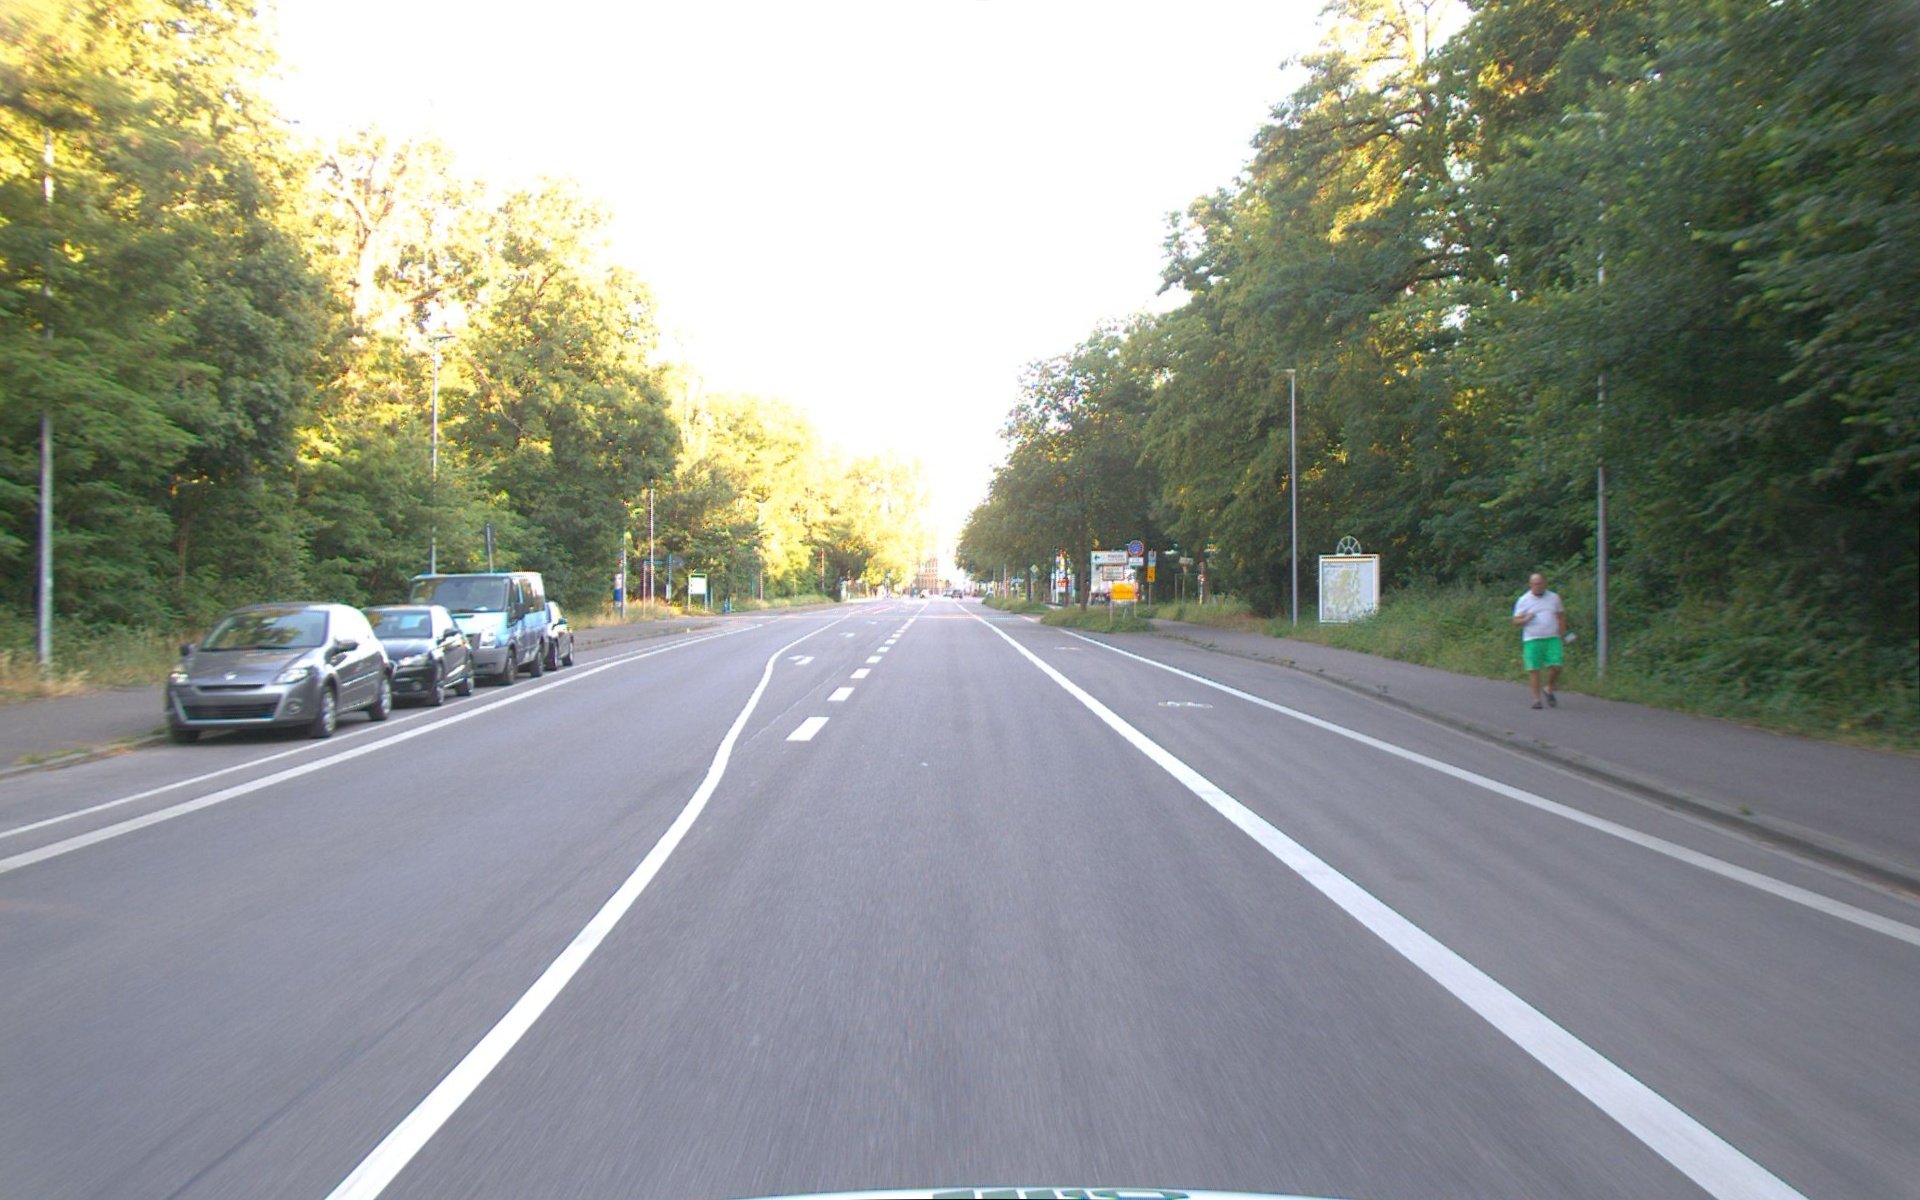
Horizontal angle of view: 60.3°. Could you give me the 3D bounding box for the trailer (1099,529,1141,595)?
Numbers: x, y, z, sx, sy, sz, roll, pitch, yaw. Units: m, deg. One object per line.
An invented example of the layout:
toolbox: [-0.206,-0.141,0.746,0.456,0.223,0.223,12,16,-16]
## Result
trailer: [13.905,-3.251,144.594,2.958,5.557,7.934,0,0,0]

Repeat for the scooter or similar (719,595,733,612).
scooter or similar: [-15.496,0.245,109.557,0.355,1.129,0.874,0,0,41]

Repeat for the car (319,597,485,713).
car: [-8.184,0.744,24.570,1.513,1.519,3.966,-2,0,-7]

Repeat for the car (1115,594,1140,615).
car: [13.316,0.318,131.941,1.733,1.611,4.821,1,0,3]

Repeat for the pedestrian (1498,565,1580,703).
pedestrian: [7.621,0.435,21.801,0.821,1.782,0.726,0,0,0]

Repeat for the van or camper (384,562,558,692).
van or camper: [-8.862,0.439,30.448,1.992,2.130,5.010,-2,0,-4]

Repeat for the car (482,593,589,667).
car: [-9.382,0.613,36.848,1.654,1.487,4.238,-2,0,-6]

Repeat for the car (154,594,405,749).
car: [-7.812,0.736,19.373,1.585,1.561,4.035,-2,0,-6]
